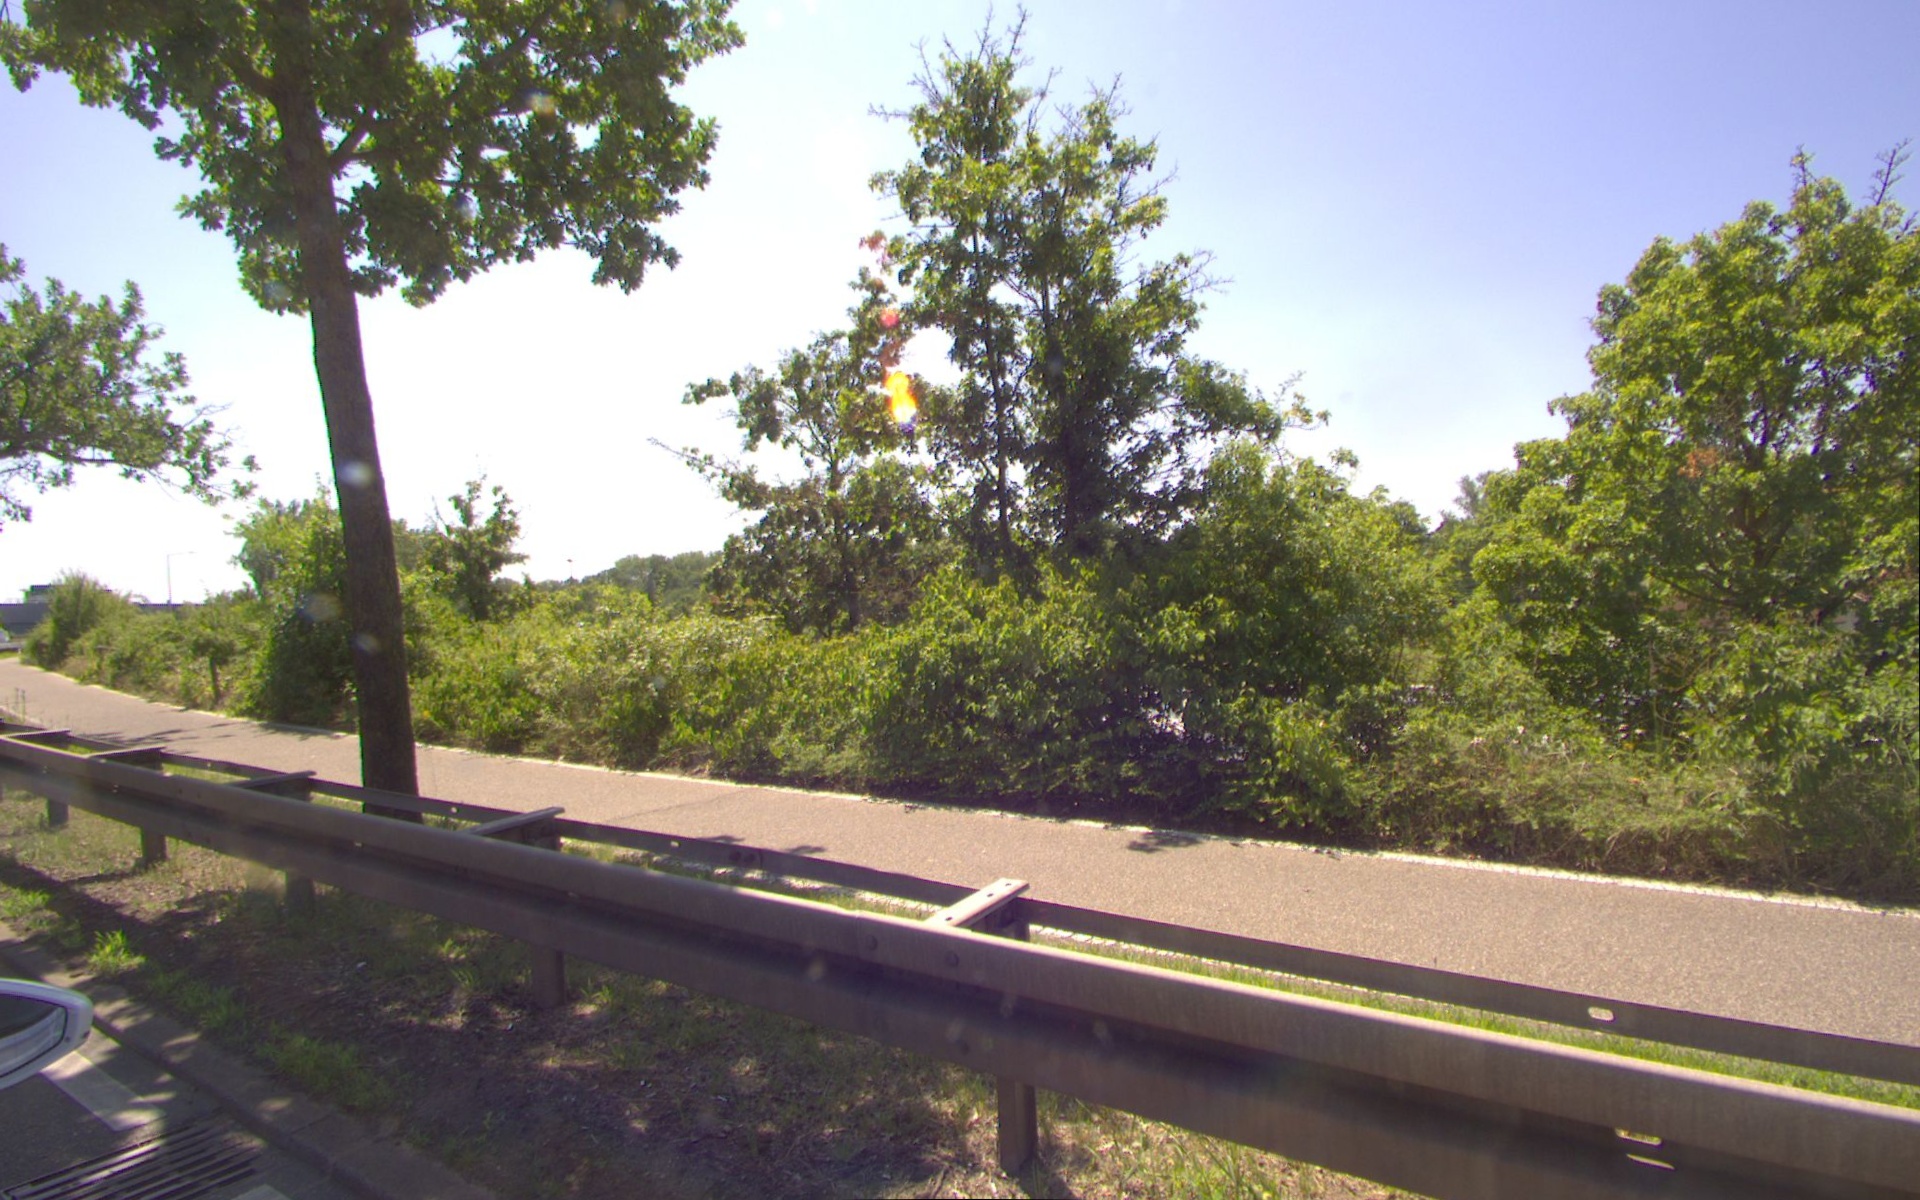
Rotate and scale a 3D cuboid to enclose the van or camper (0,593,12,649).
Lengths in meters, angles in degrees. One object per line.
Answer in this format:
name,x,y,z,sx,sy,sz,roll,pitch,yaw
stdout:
van or camper,-47.253,1.013,47.559,2.181,2.746,5.889,0,-1,-33
